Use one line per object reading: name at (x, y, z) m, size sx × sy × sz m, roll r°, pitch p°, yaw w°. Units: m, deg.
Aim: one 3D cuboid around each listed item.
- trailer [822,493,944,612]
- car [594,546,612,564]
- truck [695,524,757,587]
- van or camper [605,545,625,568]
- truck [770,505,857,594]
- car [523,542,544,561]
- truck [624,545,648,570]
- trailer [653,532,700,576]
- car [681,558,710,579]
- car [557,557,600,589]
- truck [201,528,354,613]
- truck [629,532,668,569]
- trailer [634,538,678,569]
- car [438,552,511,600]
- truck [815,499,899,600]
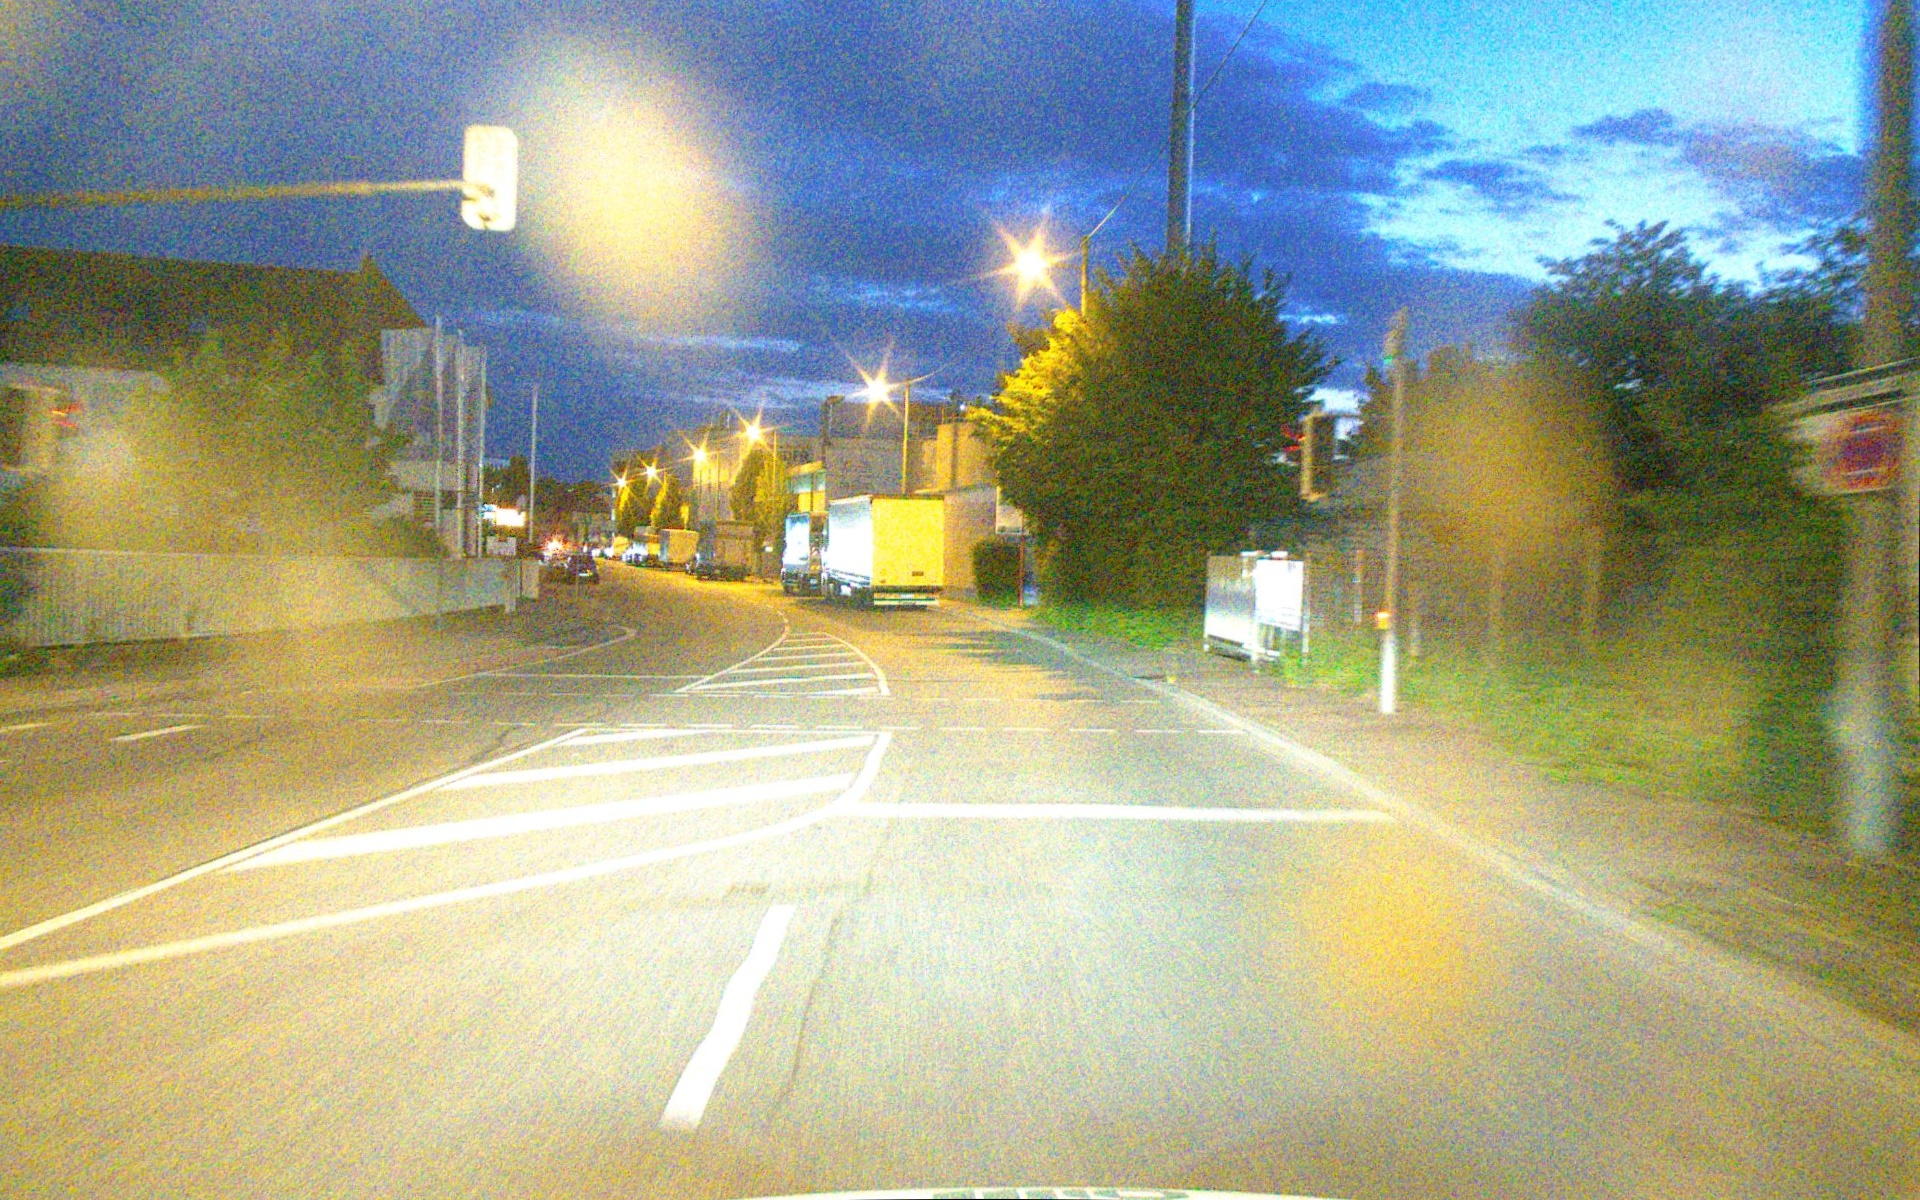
trailer at (-3.199, -1.792, 63.511) m, size 2.758 × 4.052 × 13.939 m, roll 0°, pitch 1°, yaw -11°
car at (-46.178, -5.862, 214.034) m, size 1.961 × 2.183 × 3.983 m, roll 1°, pitch 1°, yaw -16°
truck at (-16.046, -2.997, 112.562) m, size 3.459 × 4.052 × 10.311 m, roll 0°, pitch 1°, yaw -12°
van or camper at (-40.573, -5.140, 194.455) m, size 1.961 × 2.626 × 4.895 m, roll 1°, pitch 1°, yaw -15°
truck at (-7.215, -2.409, 80.251) m, size 2.781 × 4.052 × 10.308 m, roll 0°, pitch 1°, yaw -13°
car at (-42.713, -4.847, 165.641) m, size 1.961 × 1.825 × 3.983 m, roll 1°, pitch 1°, yaw -16°
truck at (-34.079, -4.491, 173.885) m, size 1.961 × 2.449 × 5.270 m, roll 1°, pitch 1°, yaw -16°
trailer at (-24.007, -3.869, 139.870) m, size 2.646 × 3.524 × 7.769 m, roll 2°, pitch 1°, yaw -18°
car at (-20.376, -2.441, 127.418) m, size 1.822 × 1.545 × 3.802 m, roll 0°, pitch 1°, yaw -16°
car at (-21.294, -1.513, 92.261) m, size 1.962 × 1.665 × 4.751 m, roll 2°, pitch 1°, yaw -17°
truck at (-17.037, -0.744, 41.569) m, size 1.954 × 1.933 × 5.312 m, roll 2°, pitch 1°, yaw -5°
truck at (-30.594, -4.848, 162.270) m, size 3.100 × 3.523 × 6.644 m, roll 0°, pitch 1°, yaw -16°
trailer at (-28.636, -4.310, 155.444) m, size 3.133 × 2.796 × 10.669 m, roll 0°, pitch 1°, yaw -16°
car at (-17.093, -0.856, 58.090) m, size 1.804 × 1.519 × 4.493 m, roll 1°, pitch 2°, yaw -25°
truck at (-4.417, -2.115, 70.132) m, size 2.780 × 4.052 × 6.034 m, roll 0°, pitch 1°, yaw -11°
